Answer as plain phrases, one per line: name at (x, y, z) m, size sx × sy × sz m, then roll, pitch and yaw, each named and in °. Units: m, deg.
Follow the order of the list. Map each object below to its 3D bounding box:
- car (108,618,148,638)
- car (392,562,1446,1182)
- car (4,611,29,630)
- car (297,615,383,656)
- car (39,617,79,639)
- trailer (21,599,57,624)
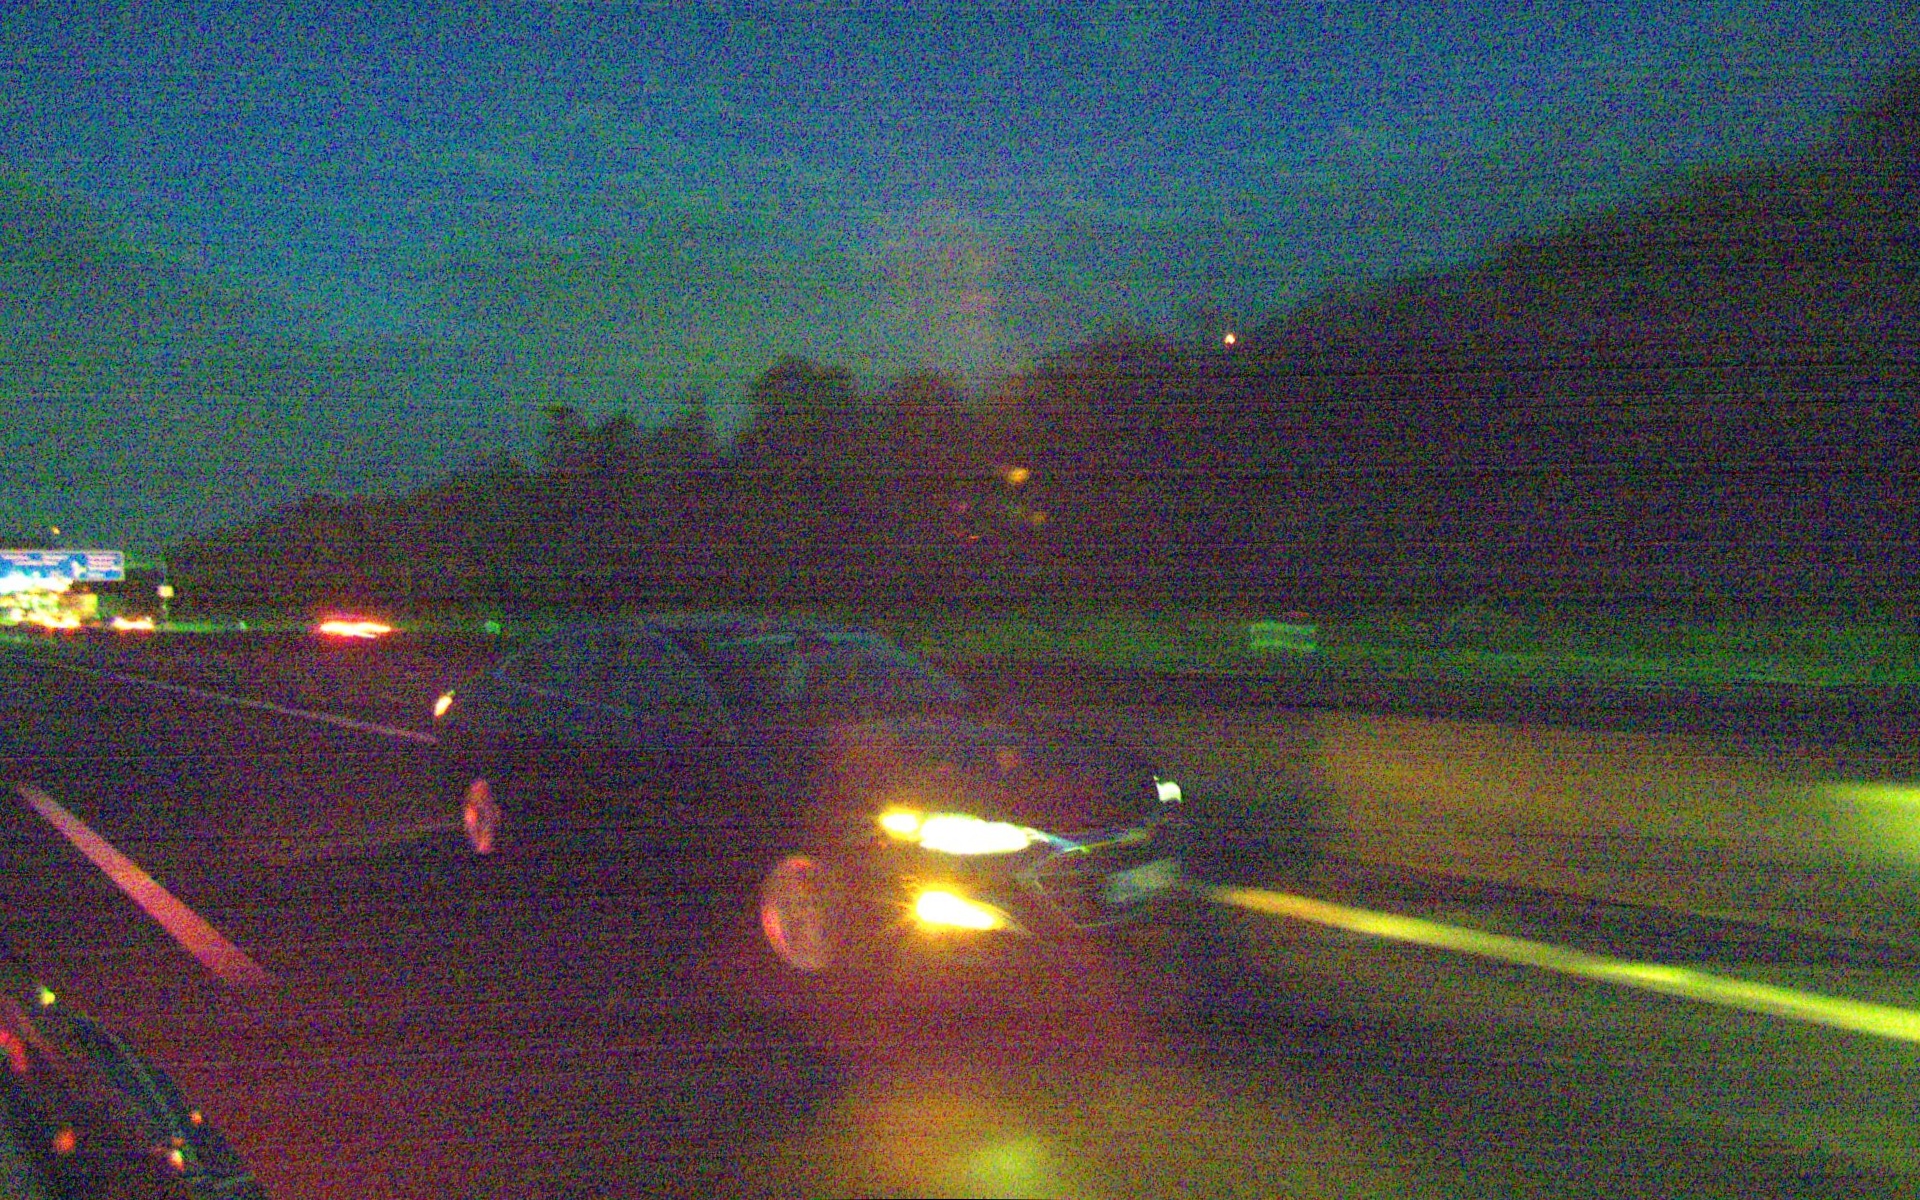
car at (-66.382, 2.234, 80.704) m, size 4.208 × 1.478 × 1.988 m, roll -1°, pitch -1°, yaw 43°
car at (-0.845, 0.739, 5.168) m, size 5.650 × 1.530 × 1.972 m, roll -2°, pitch -1°, yaw 43°
car at (-135.104, 2.927, 144.867) m, size 6.215 × 2.537 × 2.078 m, roll -1°, pitch -1°, yaw 42°
car at (-27.378, 1.518, 44.597) m, size 4.948 × 1.682 × 1.988 m, roll -1°, pitch -1°, yaw 43°
car at (-71.702, 2.198, 80.502) m, size 4.483 × 1.682 × 1.988 m, roll -1°, pitch -1°, yaw 43°
trailer at (-156.631, 1.964, 172.010) m, size 13.810 × 4.010 × 3.393 m, roll -1°, pitch 0°, yaw 43°
